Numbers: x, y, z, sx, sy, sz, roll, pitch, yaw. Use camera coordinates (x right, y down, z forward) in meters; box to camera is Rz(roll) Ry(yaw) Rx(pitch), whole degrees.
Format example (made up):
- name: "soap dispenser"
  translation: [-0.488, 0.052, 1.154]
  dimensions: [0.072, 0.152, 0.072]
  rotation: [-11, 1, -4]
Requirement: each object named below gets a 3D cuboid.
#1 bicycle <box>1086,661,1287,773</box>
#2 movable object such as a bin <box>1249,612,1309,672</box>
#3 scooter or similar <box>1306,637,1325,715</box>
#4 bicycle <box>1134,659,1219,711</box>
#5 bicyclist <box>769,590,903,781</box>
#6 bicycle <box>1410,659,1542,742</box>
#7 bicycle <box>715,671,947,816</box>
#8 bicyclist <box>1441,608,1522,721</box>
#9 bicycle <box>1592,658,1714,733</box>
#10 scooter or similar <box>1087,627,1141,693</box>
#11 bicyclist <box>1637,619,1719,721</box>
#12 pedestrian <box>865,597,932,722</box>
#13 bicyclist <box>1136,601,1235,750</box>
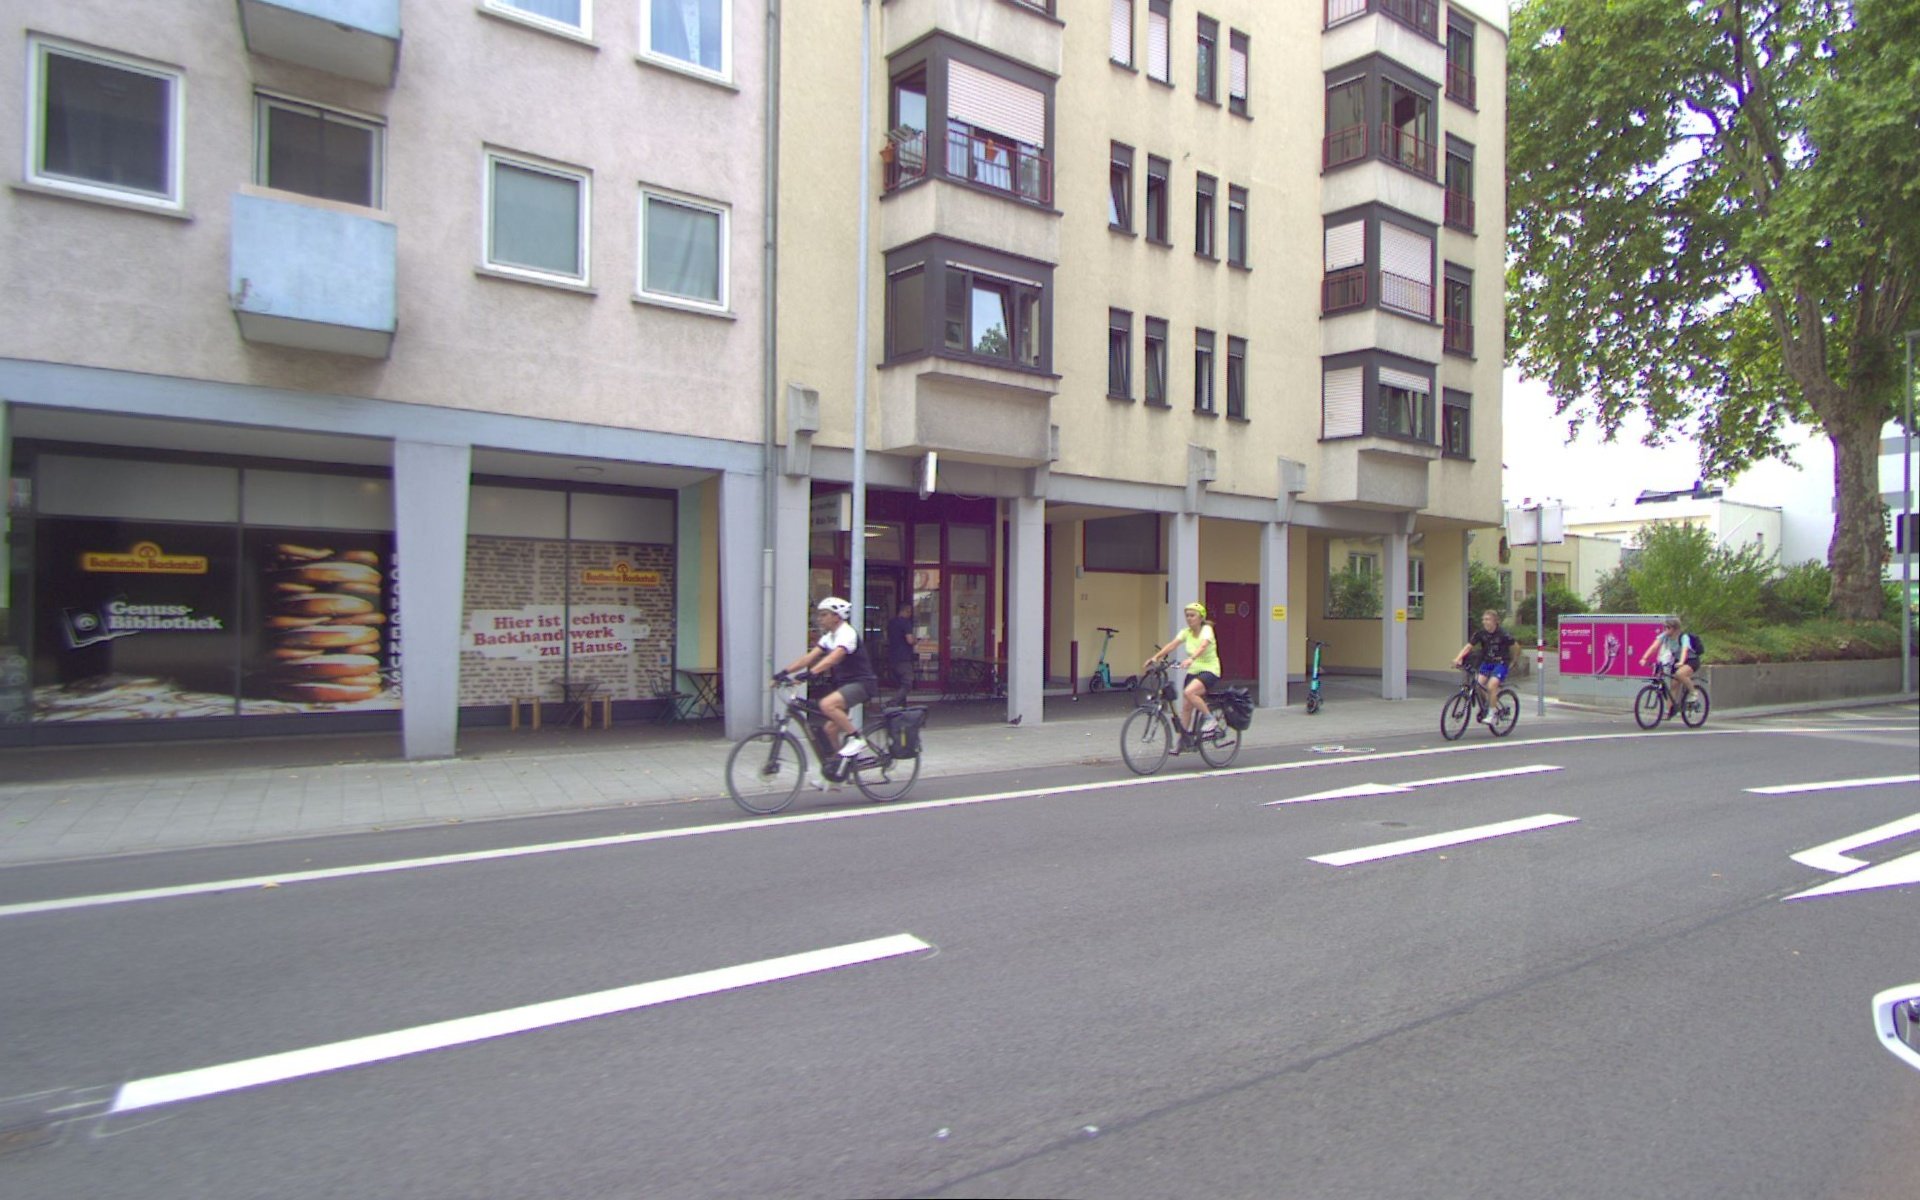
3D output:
- name: "bicycle"
  translation: [2.511, 1.242, 11.057]
  dimensions: [2.223, 1.020, 0.734]
  rotation: [0, 1, -28]
- name: "movable object such as a bin"
  translation: [8.567, 1.125, 26.960]
  dimensions: [1.055, 1.561, 1.135]
  rotation: [1, -1, -34]
- name: "scooter or similar"
  translation: [6.140, 1.287, 17.322]
  dimensions: [0.281, 1.281, 1.176]
  rotation: [0, -1, 21]
- name: "bicycle"
  translation: [3.778, 1.457, 17.457]
  dimensions: [1.601, 0.832, 0.427]
  rotation: [1, -1, -32]
- name: "bicyclist"
  translation: [-1.076, 0.692, 8.679]
  dimensions: [0.989, 1.546, 0.654]
  rotation: [0, 1, -28]
- name: "bicycle"
  translation: [7.465, 1.416, 14.514]
  dimensions: [1.952, 1.020, 0.734]
  rotation: [0, 1, -30]
- name: "bicycle"
  translation: [-1.110, 1.196, 8.751]
  dimensions: [1.885, 1.020, 0.734]
  rotation: [0, 1, -28]
- name: "bicyclist"
  translation: [7.490, 0.898, 14.437]
  dimensions: [0.845, 1.546, 0.654]
  rotation: [0, 1, -28]
- name: "bicycle"
  translation: [11.189, 1.513, 16.204]
  dimensions: [2.168, 1.020, 0.734]
  rotation: [0, 1, -30]
- name: "scooter or similar"
  translation: [3.013, 1.161, 19.623]
  dimensions: [1.165, 1.218, 0.284]
  rotation: [-1, 0, -36]
- name: "bicyclist"
  translation: [11.508, 1.098, 16.104]
  dimensions: [1.063, 1.546, 0.654]
  rotation: [0, 1, -28]
- name: "pedestrian"
  translation: [-0.911, 0.864, 14.886]
  dimensions: [0.775, 1.781, 0.578]
  rotation: [1, 1, -32]
- name: "bicyclist"
  translation: [2.461, 0.792, 10.980]
  dimensions: [0.830, 1.546, 0.654]
  rotation: [0, 1, -28]
